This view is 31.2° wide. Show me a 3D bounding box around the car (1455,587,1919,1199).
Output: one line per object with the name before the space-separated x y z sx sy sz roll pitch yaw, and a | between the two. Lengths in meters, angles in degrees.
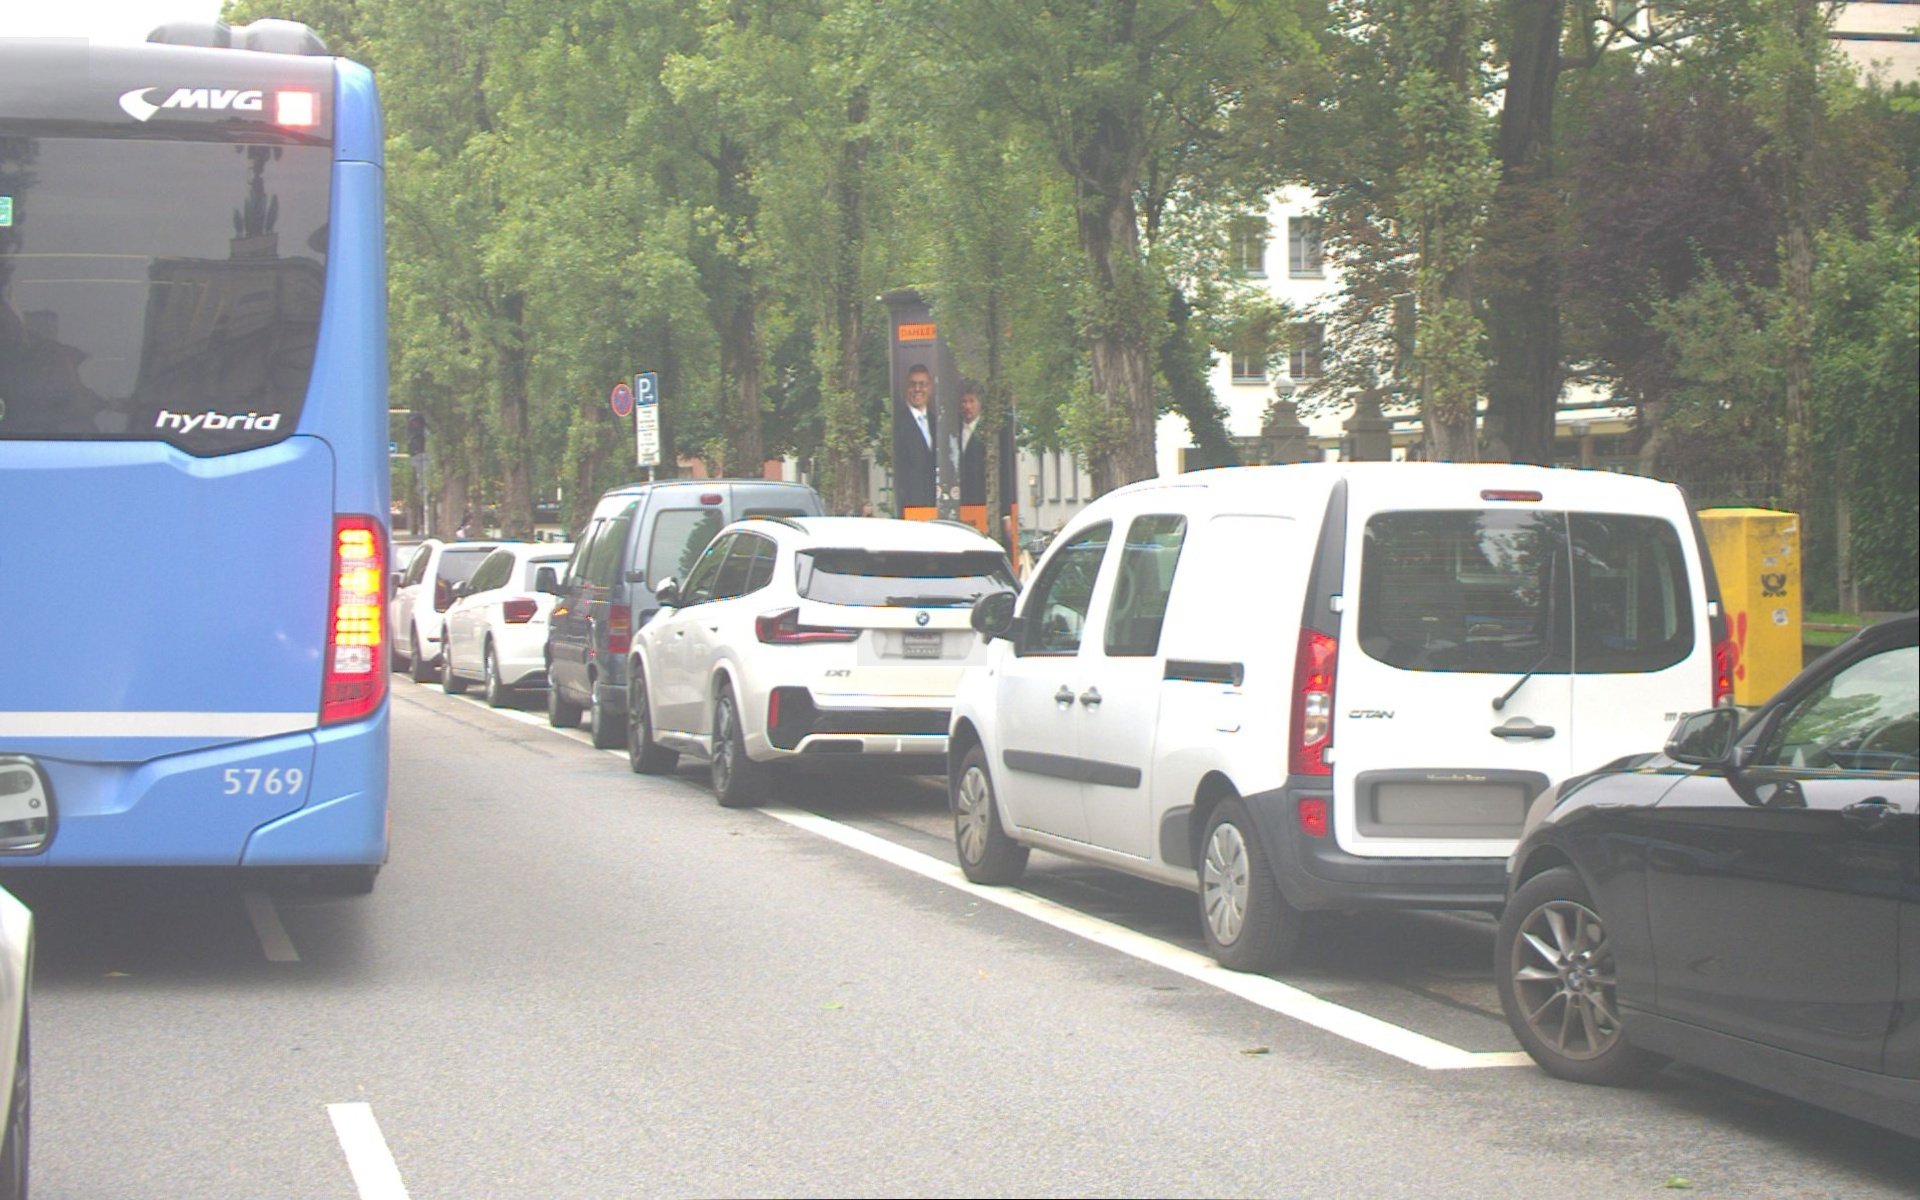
car | 2.744 0.684 8.004 1.746 1.349 4.001 0 1 -14

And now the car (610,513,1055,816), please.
car | -0.862 0.304 20.194 1.677 1.590 4.088 1 1 -16

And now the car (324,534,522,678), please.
car | -6.508 0.023 41.385 1.808 1.612 4.001 -1 2 -17

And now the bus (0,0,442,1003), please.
bus | -3.842 -0.453 15.127 2.855 3.202 9.062 0 1 -10

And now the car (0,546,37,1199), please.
car | -2.443 0.642 5.159 1.825 1.449 4.584 0 1 -12

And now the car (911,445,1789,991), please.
car | 1.295 0.360 13.402 1.832 1.767 4.232 1 1 -17

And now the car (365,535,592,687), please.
car | -5.155 0.069 36.401 1.785 1.486 4.001 -1 2 -17

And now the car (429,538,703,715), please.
car | -3.673 0.187 31.474 1.798 1.470 4.001 -1 2 -17

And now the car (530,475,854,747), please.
car | -2.053 0.036 25.273 1.703 1.829 4.001 1 1 -14
